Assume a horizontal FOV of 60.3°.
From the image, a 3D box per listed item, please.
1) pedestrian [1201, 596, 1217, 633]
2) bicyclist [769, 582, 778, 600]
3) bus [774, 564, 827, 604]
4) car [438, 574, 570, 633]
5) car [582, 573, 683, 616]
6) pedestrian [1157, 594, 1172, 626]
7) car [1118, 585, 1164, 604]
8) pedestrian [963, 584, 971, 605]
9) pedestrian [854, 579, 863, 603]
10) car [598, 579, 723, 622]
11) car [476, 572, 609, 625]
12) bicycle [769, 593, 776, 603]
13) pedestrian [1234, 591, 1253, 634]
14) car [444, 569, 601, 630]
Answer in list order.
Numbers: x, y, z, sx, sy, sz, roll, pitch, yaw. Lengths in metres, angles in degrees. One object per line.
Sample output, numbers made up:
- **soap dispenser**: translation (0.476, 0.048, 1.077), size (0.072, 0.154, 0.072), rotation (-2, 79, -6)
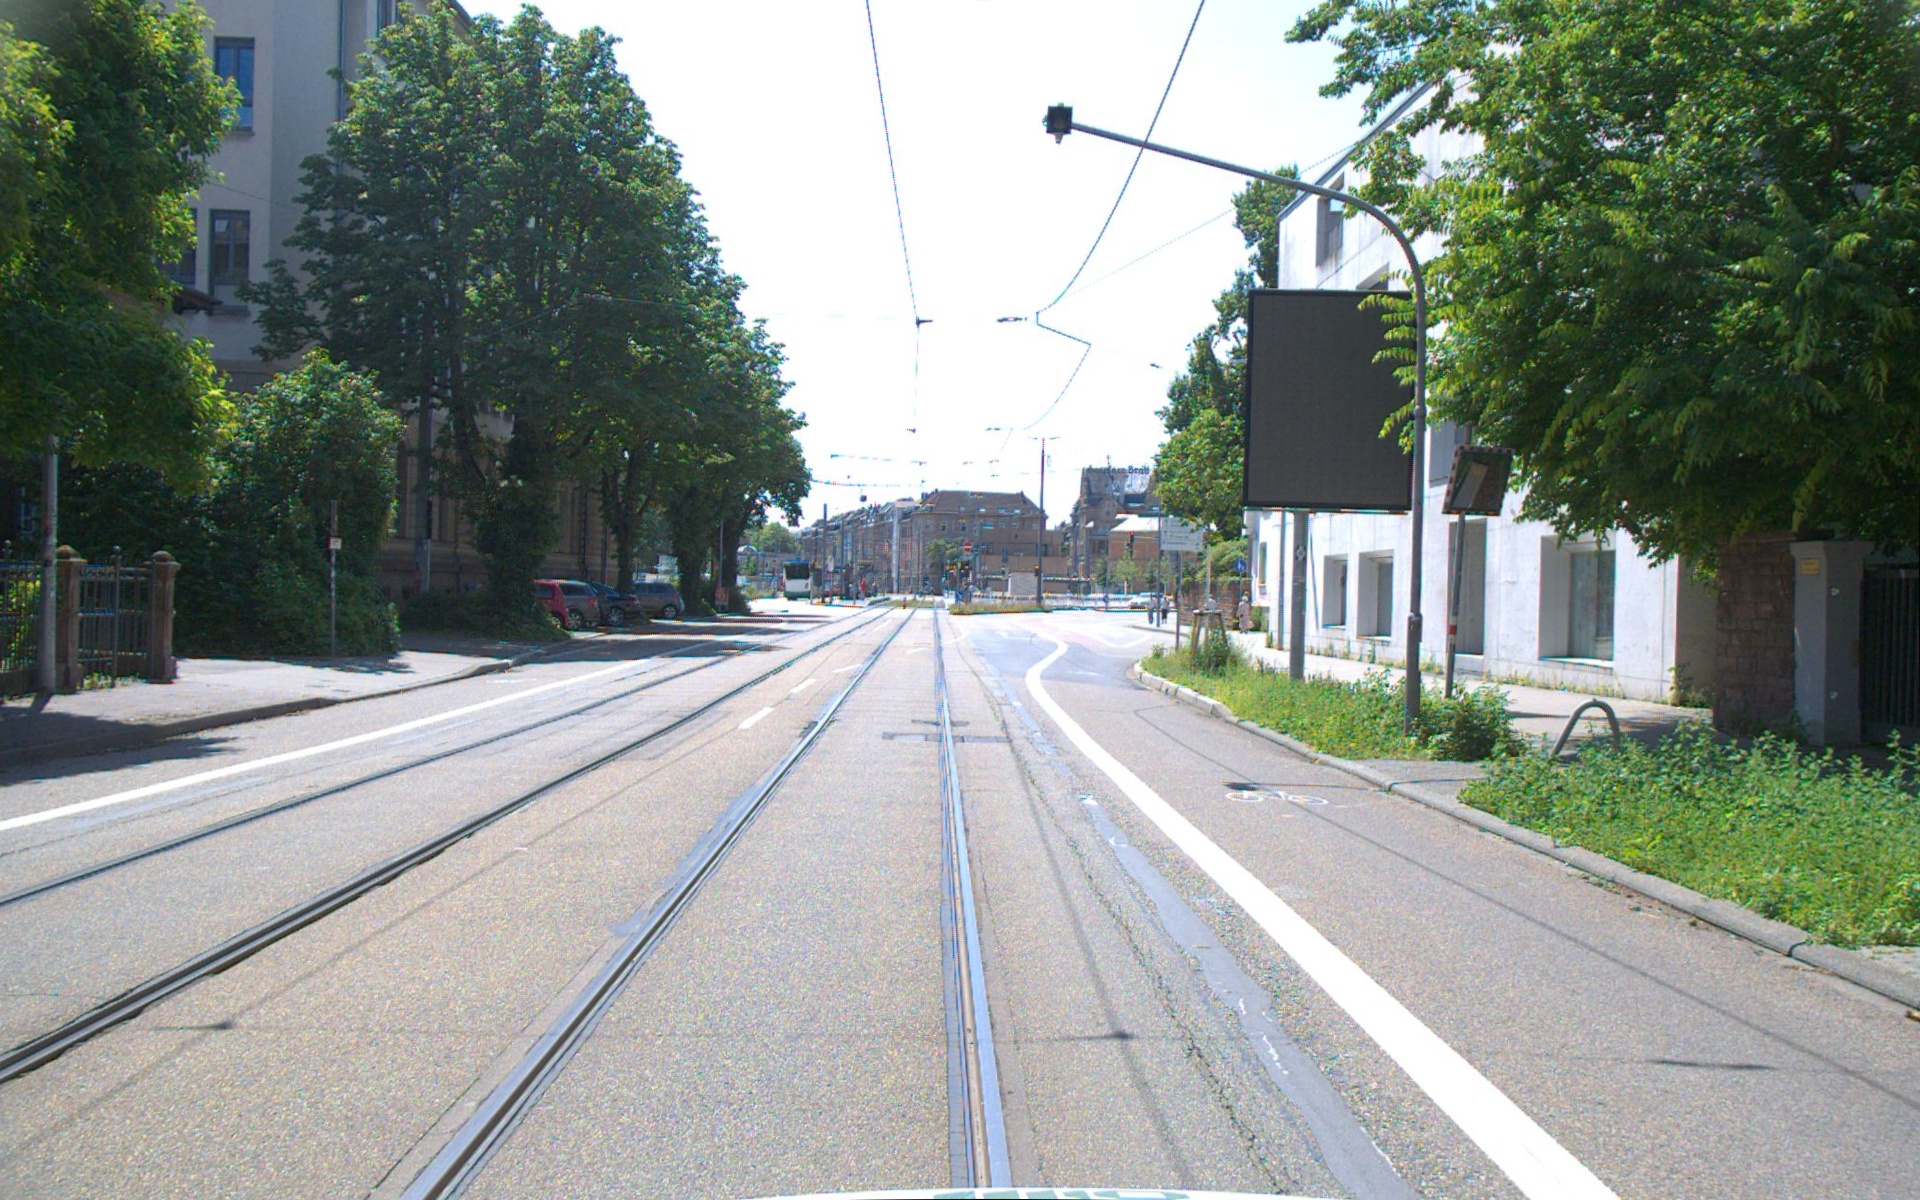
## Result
- **pedestrian**: translation (11.517, 0.675, 76.395), size (0.647, 1.676, 0.625), rotation (1, 0, 4)
- **bicyclist**: translation (-18.286, -0.874, 161.894), size (0.804, 1.739, 0.770), rotation (1, 0, -3)
- **bus**: translation (-13.910, -1.406, 145.892), size (2.949, 3.213, 17.496), rotation (1, 0, 0)
- **car**: translation (-12.887, 0.101, 46.732), size (3.302, 1.542, 1.655), rotation (2, 0, -27)
- **car**: translation (-13.099, -0.207, 66.152), size (3.625, 1.546, 1.653), rotation (3, 0, -30)
- **pedestrian**: translation (11.912, 0.556, 96.428), size (0.797, 1.839, 0.700), rotation (1, 0, 3)
- **car**: translation (15.268, -0.466, 139.262), size (1.958, 1.463, 4.692), rotation (1, 0, 33)
- **pedestrian**: translation (0.591, -0.463, 135.108), size (0.517, 1.704, 0.751), rotation (2, -1, -8)
- **pedestrian**: translation (-8.257, -0.723, 134.762), size (0.660, 1.943, 0.639), rotation (1, 0, -11)
- **car**: translation (-10.142, 0.012, 56.020), size (3.874, 1.398, 1.655), rotation (1, 1, -27)
- **car**: translation (-13.270, -0.054, 52.603), size (3.766, 1.604, 1.776), rotation (1, 1, -31)
- **bicycle**: translation (-18.310, -0.201, 161.847), size (0.493, 0.930, 2.369), rotation (1, 1, -2)
- **pedestrian**: translation (12.219, 0.551, 71.190), size (0.614, 1.804, 0.719), rotation (5, 0, 14)
- **car**: translation (-13.129, -0.010, 49.700), size (4.263, 1.612, 1.652), rotation (3, 0, -31)
